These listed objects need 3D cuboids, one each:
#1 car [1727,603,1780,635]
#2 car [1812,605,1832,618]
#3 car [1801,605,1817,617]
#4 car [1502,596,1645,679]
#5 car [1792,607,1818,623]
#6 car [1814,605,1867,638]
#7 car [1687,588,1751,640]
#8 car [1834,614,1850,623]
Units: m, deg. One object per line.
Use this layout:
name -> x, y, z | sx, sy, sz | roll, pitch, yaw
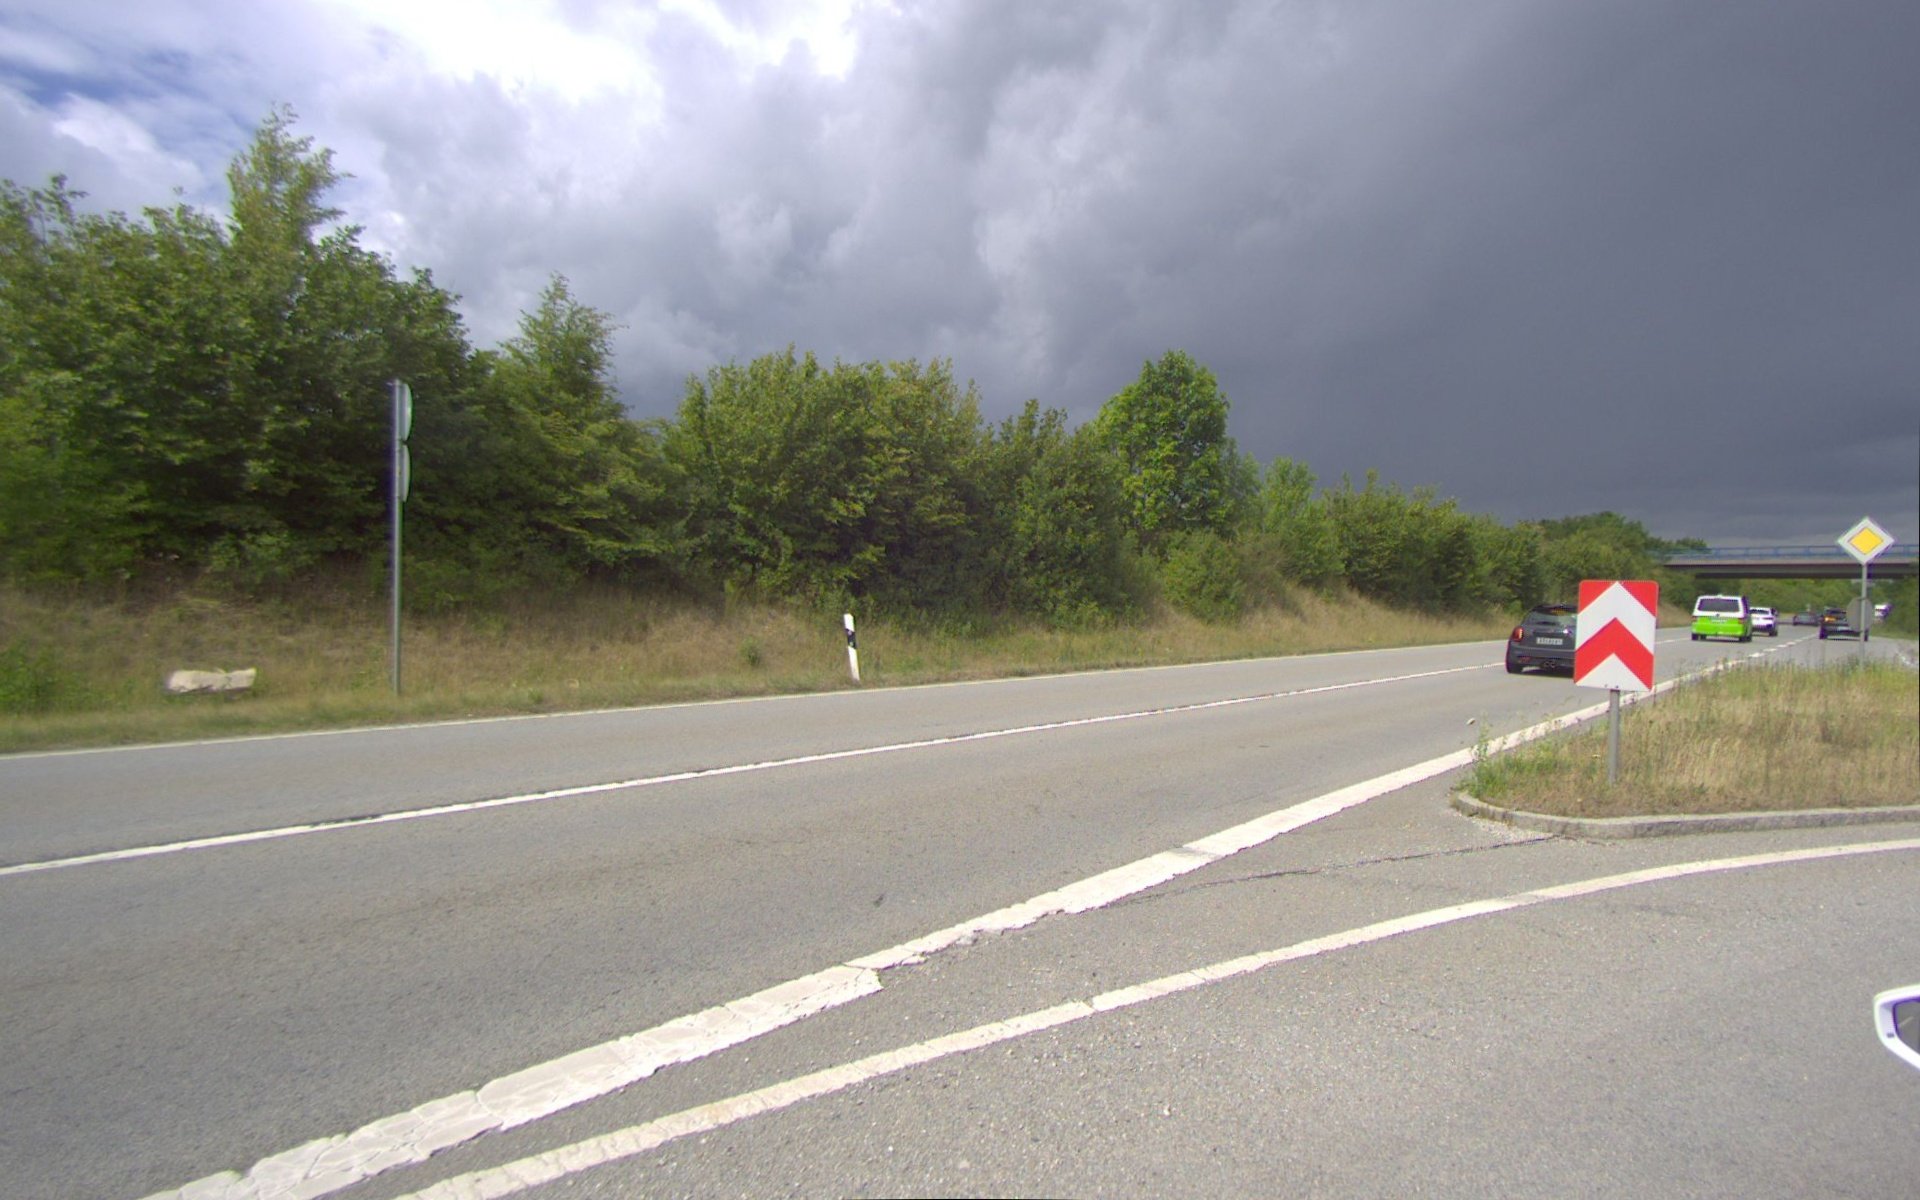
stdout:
car -> 43.608, 1.011, 55.189 | 1.971, 1.573, 3.978 | 4, 2, 42
car -> 102.337, 1.320, 119.204 | 1.649, 1.422, 3.977 | 3, 2, 42
car -> 160.984, 2.090, 190.442 | 1.973, 2.041, 3.974 | 2, 1, 45
car -> 12.631, 0.706, 20.583 | 1.737, 1.446, 3.978 | 4, 2, 42
car -> 81.355, 1.433, 96.678 | 1.649, 1.422, 3.975 | 3, 2, 44
car -> 46.570, 1.122, 53.196 | 1.970, 1.573, 3.980 | 4, 2, 40
car -> 33.235, 0.597, 43.949 | 1.799, 2.082, 3.978 | 4, 2, 42
car -> 140.048, 2.948, 159.513 | 3.974, 1.422, 1.650 | 1, 2, -45
